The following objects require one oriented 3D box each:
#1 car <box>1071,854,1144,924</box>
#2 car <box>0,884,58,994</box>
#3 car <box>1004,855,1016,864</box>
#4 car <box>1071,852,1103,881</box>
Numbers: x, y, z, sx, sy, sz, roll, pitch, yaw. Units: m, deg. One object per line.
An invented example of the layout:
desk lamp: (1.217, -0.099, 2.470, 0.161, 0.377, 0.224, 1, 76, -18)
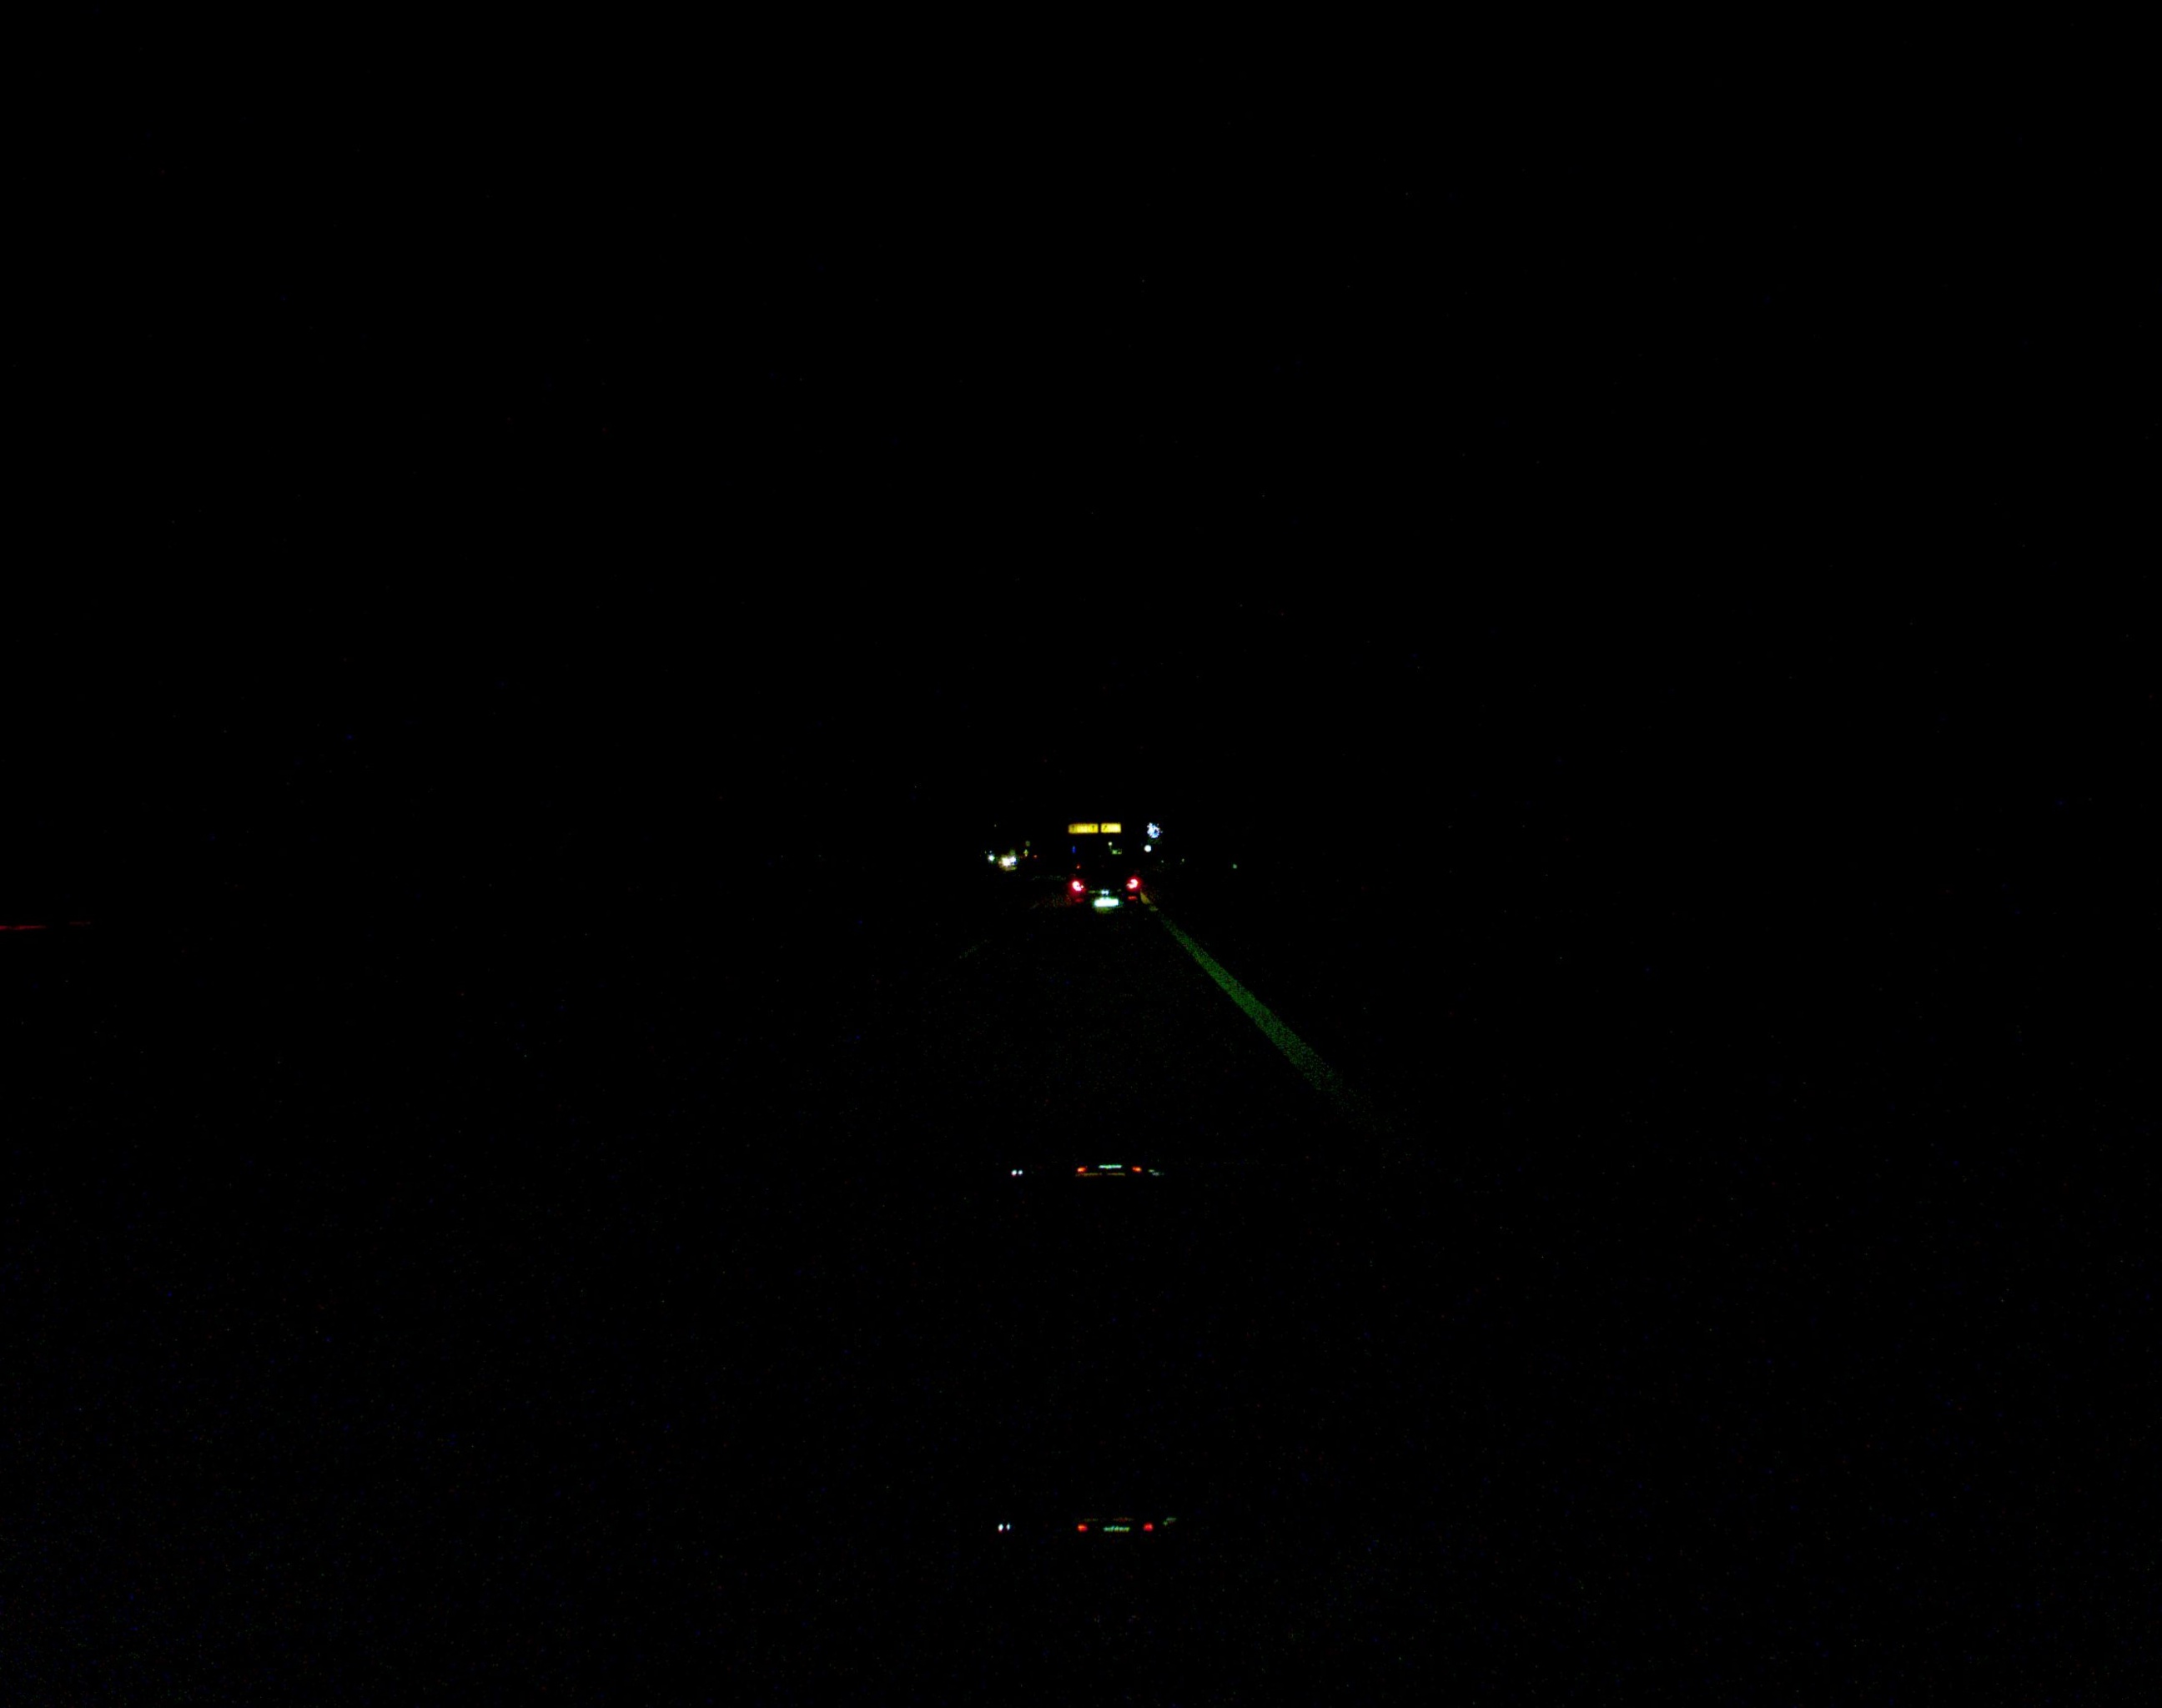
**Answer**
car: (0.594, 0.786, 20.331, 1.583, 1.508, 3.999, -2, 0, 0)
car: (-15.554, 1.190, 9.376, 1.950, 1.457, 4.339, -2, 0, 3)
car: (-15.056, 1.166, 172.027, 1.960, 1.763, 5.032, -2, 0, 0)
car: (0.379, 0.759, 50.604, 1.900, 1.698, 4.001, 0, 0, 1)
